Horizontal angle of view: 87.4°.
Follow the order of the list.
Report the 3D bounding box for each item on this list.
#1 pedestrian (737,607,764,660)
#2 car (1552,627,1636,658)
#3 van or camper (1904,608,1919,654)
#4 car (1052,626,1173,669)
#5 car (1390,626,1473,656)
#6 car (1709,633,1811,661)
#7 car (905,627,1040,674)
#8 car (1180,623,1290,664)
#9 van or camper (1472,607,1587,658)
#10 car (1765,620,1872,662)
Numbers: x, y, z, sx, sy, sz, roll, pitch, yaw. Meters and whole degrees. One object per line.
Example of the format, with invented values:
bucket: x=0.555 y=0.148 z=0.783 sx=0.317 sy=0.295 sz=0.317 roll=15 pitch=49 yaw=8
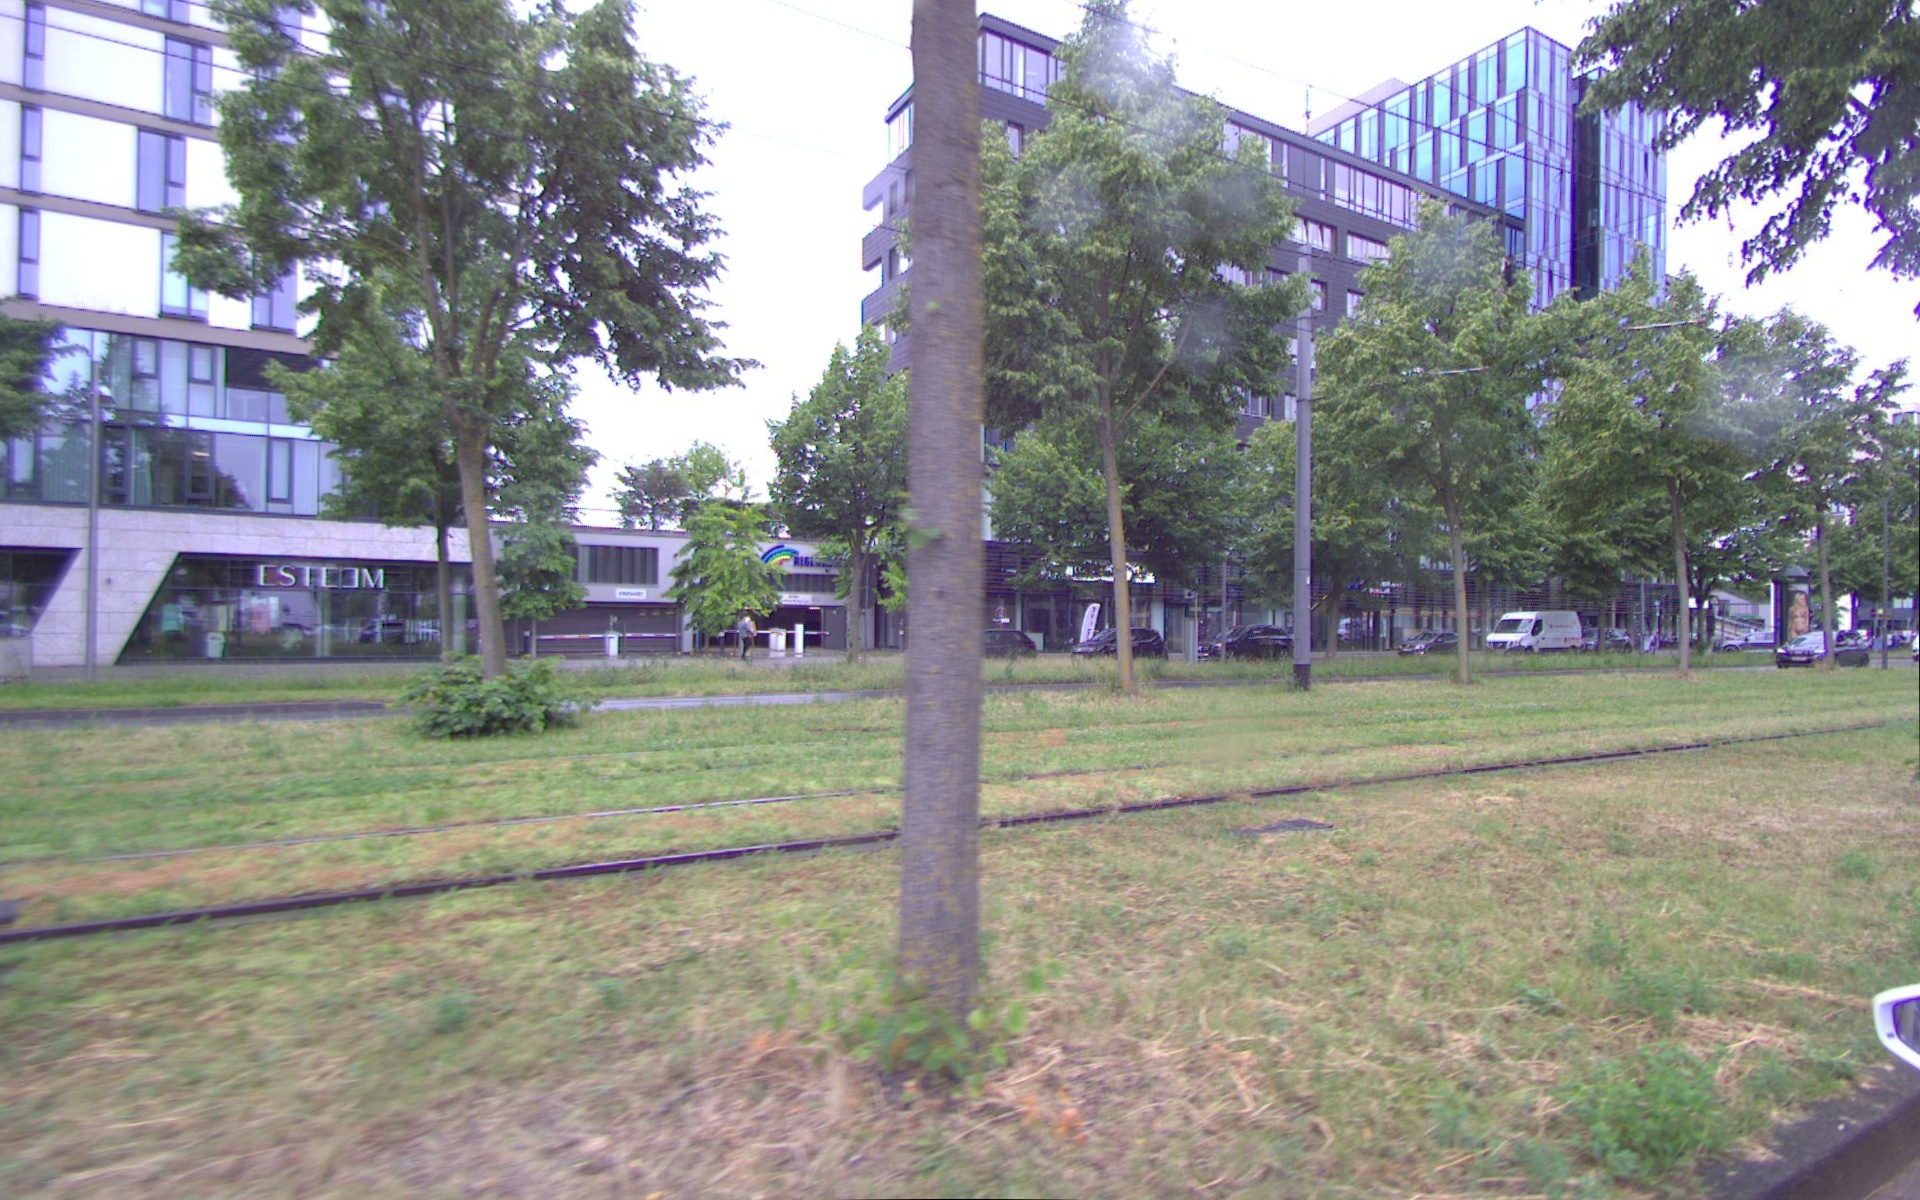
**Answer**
pedestrian: x=-8.008 y=1.268 z=38.413 sx=0.844 sy=2.007 sz=0.793 roll=1 pitch=0 yaw=-23
car: x=33.166 y=2.191 z=52.522 sx=4.556 sy=1.542 sz=1.983 roll=1 pitch=-1 yaw=-32
van or camper: x=53.577 y=1.707 z=54.618 sx=5.339 sy=2.442 sz=1.900 roll=1 pitch=-1 yaw=-31
car: x=5.444 y=1.663 z=35.802 sx=3.954 sy=1.397 sz=1.984 roll=1 pitch=-1 yaw=-31
car: x=23.763 y=2.059 z=50.603 sx=4.134 sy=1.397 sz=1.808 roll=1 pitch=-1 yaw=-31
car: x=49.072 y=2.854 z=61.743 sx=4.598 sy=1.542 sz=1.996 roll=0 pitch=-1 yaw=30
car: x=0.412 y=1.613 z=32.476 sx=3.954 sy=1.397 sz=1.984 roll=1 pitch=-1 yaw=-31
car: x=10.619 y=1.666 z=38.749 sx=4.192 sy=1.468 sz=1.693 roll=1 pitch=-1 yaw=-31
van or camper: x=28.088 y=1.588 z=49.519 sx=5.782 sy=2.346 sz=2.421 roll=1 pitch=-1 yaw=-31
car: x=33.427 y=1.595 z=39.107 sx=4.426 sy=1.544 sz=1.854 roll=1 pitch=-1 yaw=-31
